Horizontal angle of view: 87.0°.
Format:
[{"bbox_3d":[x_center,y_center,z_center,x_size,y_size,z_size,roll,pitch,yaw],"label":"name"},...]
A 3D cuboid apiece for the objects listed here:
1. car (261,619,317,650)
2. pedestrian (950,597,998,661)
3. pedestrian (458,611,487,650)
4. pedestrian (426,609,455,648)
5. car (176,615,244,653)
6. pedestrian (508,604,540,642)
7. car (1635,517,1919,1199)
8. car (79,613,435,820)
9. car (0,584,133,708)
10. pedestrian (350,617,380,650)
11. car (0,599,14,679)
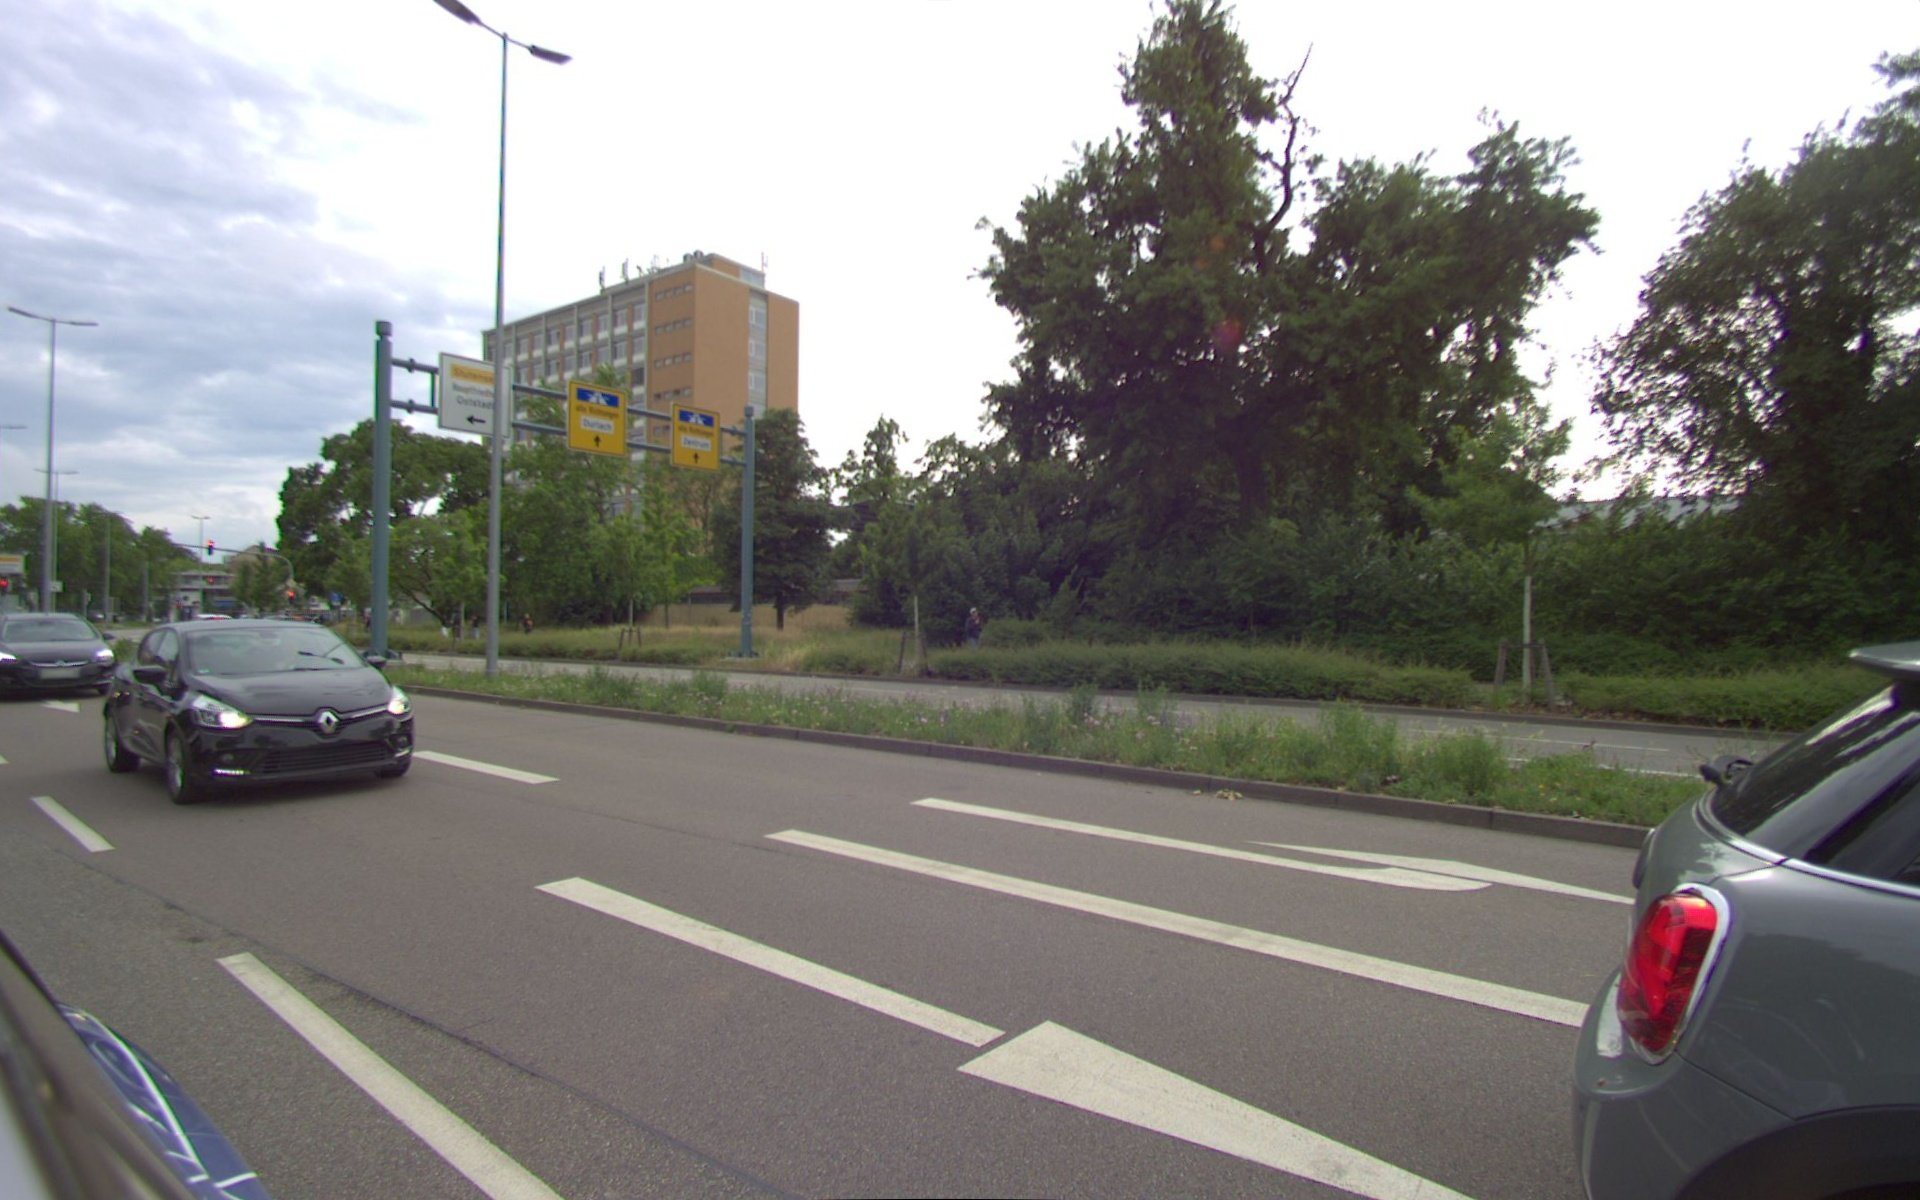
[{"bbox_3d":[-35.068,1.761,52.864,1.828,1.564,4.005,1,-1,-42],"label":"car"},{"bbox_3d":[0.369,0.760,26.723,0.812,1.637,0.978,-1,0,38],"label":"pedestrian"},{"bbox_3d":[-26.205,1.627,54.391,1.218,2.029,0.872,-1,0,33],"label":"pedestrian"},{"bbox_3d":[-27.687,1.525,53.931,1.218,2.029,0.872,-1,0,33],"label":"pedestrian"},{"bbox_3d":[-37.823,1.672,51.004,3.997,1.786,1.869,0,0,40],"label":"car"},{"bbox_3d":[-22.179,1.158,51.495,1.163,1.933,1.122,-1,0,44],"label":"pedestrian"},{"bbox_3d":[2.992,0.553,0.997,3.703,1.328,1.604,-1,-2,41],"label":"car"},{"bbox_3d":[-6.473,0.869,9.154,3.998,1.470,1.710,-1,-2,41],"label":"car"},{"bbox_3d":[-16.739,0.790,18.395,3.998,2.029,1.973,-1,-2,41],"label":"car"},{"bbox_3d":[-37.409,2.111,63.636,1.519,2.029,1.208,-1,0,40],"label":"pedestrian"},{"bbox_3d":[-26.331,0.985,26.423,3.998,2.029,1.973,-1,-2,41],"label":"car"}]
